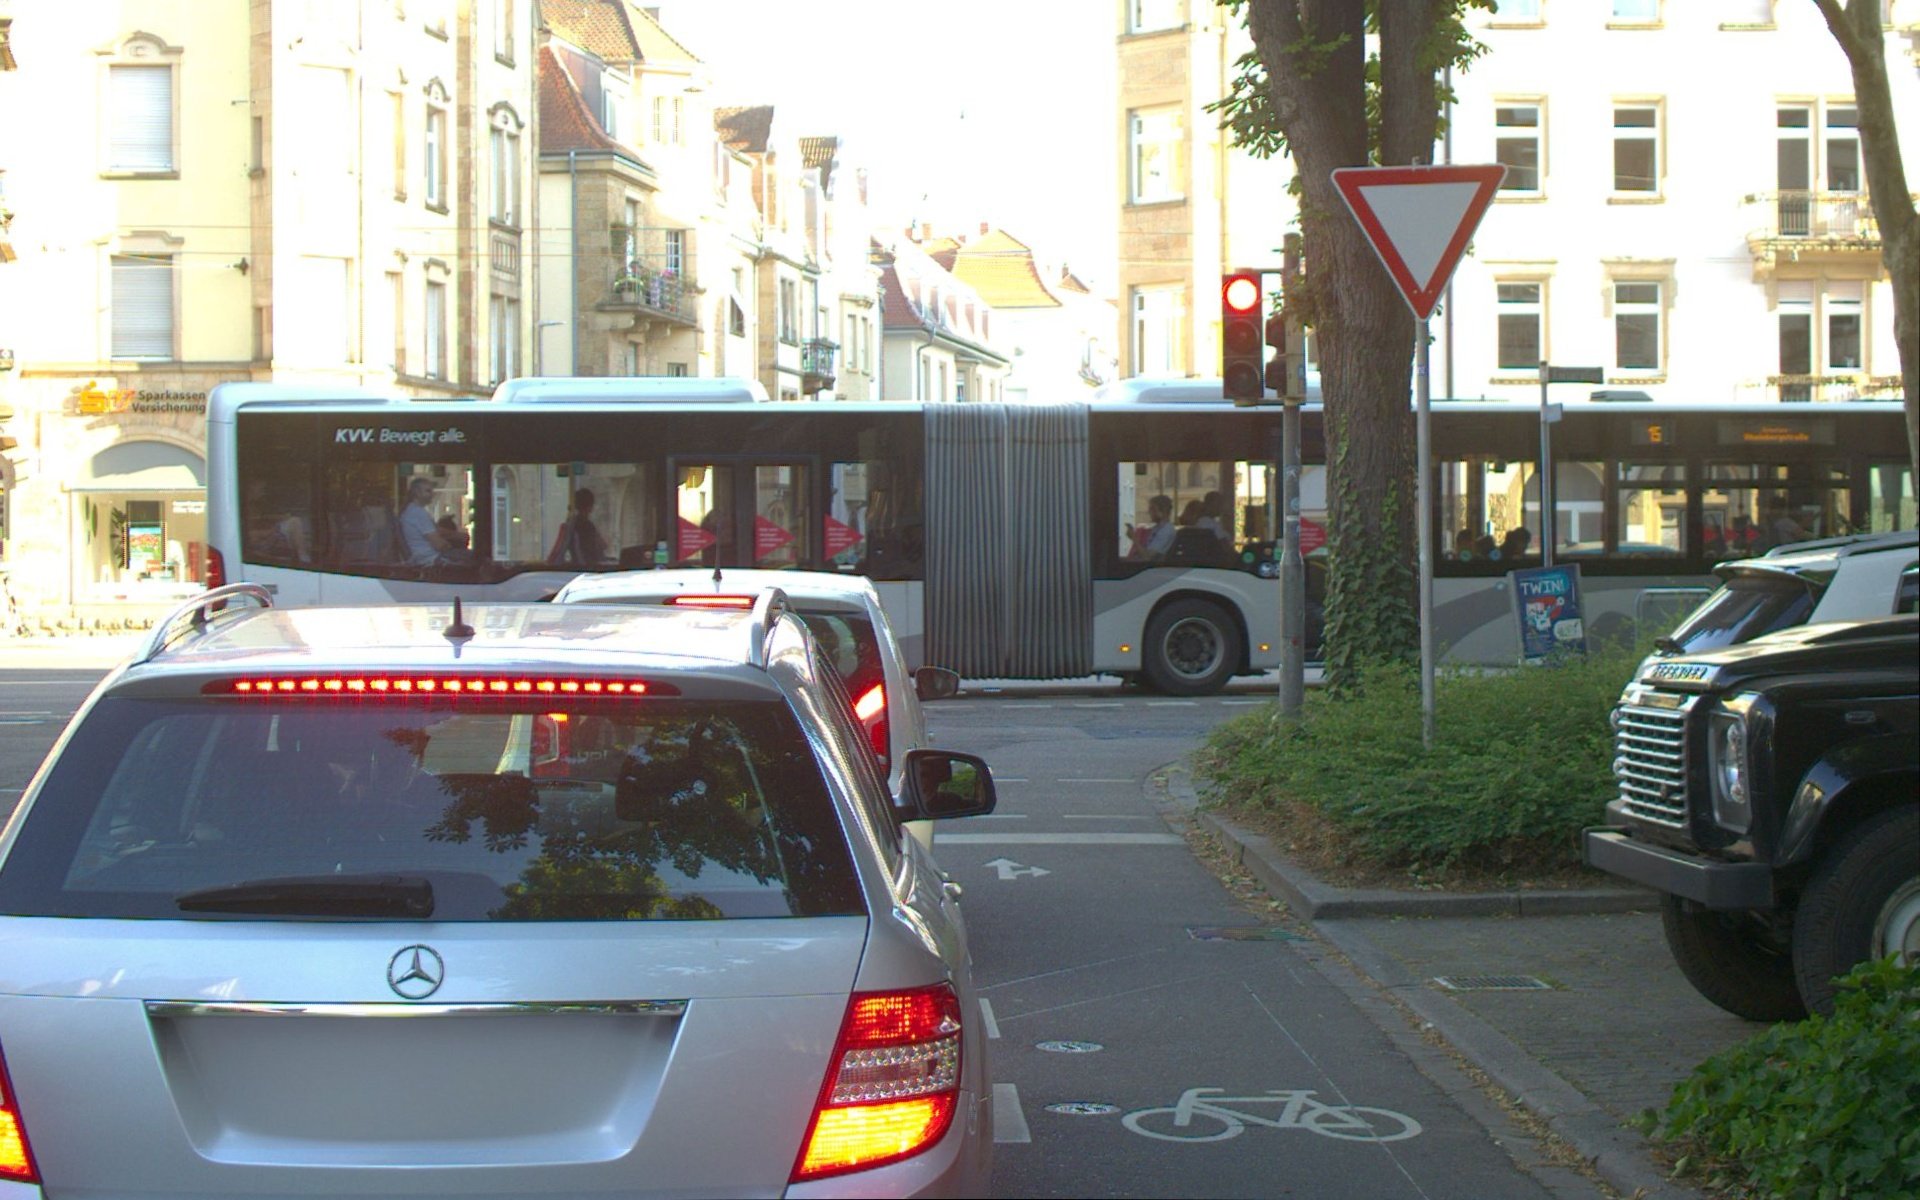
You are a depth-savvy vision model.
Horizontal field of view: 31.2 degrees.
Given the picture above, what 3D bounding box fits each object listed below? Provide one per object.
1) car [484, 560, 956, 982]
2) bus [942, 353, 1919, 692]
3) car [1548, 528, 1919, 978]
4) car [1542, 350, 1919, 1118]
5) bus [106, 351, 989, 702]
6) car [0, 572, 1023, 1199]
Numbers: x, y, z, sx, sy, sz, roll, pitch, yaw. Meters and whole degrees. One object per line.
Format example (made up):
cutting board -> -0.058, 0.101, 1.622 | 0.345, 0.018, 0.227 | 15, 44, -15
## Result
car -> -0.911, 0.568, 14.048 | 1.619, 1.442, 4.345 | 0, 1, -2
bus -> 5.206, -0.822, 34.939 | 10.450, 3.190, 2.912 | -1, 1, -8
car -> 4.293, 0.495, 13.088 | 3.723, 1.564, 1.709 | -1, 1, -4
car -> 4.138, 0.299, 10.118 | 4.465, 2.029, 1.701 | -1, 0, -3
bus -> -3.988, -0.746, 33.637 | 8.173, 3.190, 2.912 | -1, 1, -8
car -> -0.895, 0.686, 6.958 | 1.777, 1.447, 4.548 | 0, 1, -2
